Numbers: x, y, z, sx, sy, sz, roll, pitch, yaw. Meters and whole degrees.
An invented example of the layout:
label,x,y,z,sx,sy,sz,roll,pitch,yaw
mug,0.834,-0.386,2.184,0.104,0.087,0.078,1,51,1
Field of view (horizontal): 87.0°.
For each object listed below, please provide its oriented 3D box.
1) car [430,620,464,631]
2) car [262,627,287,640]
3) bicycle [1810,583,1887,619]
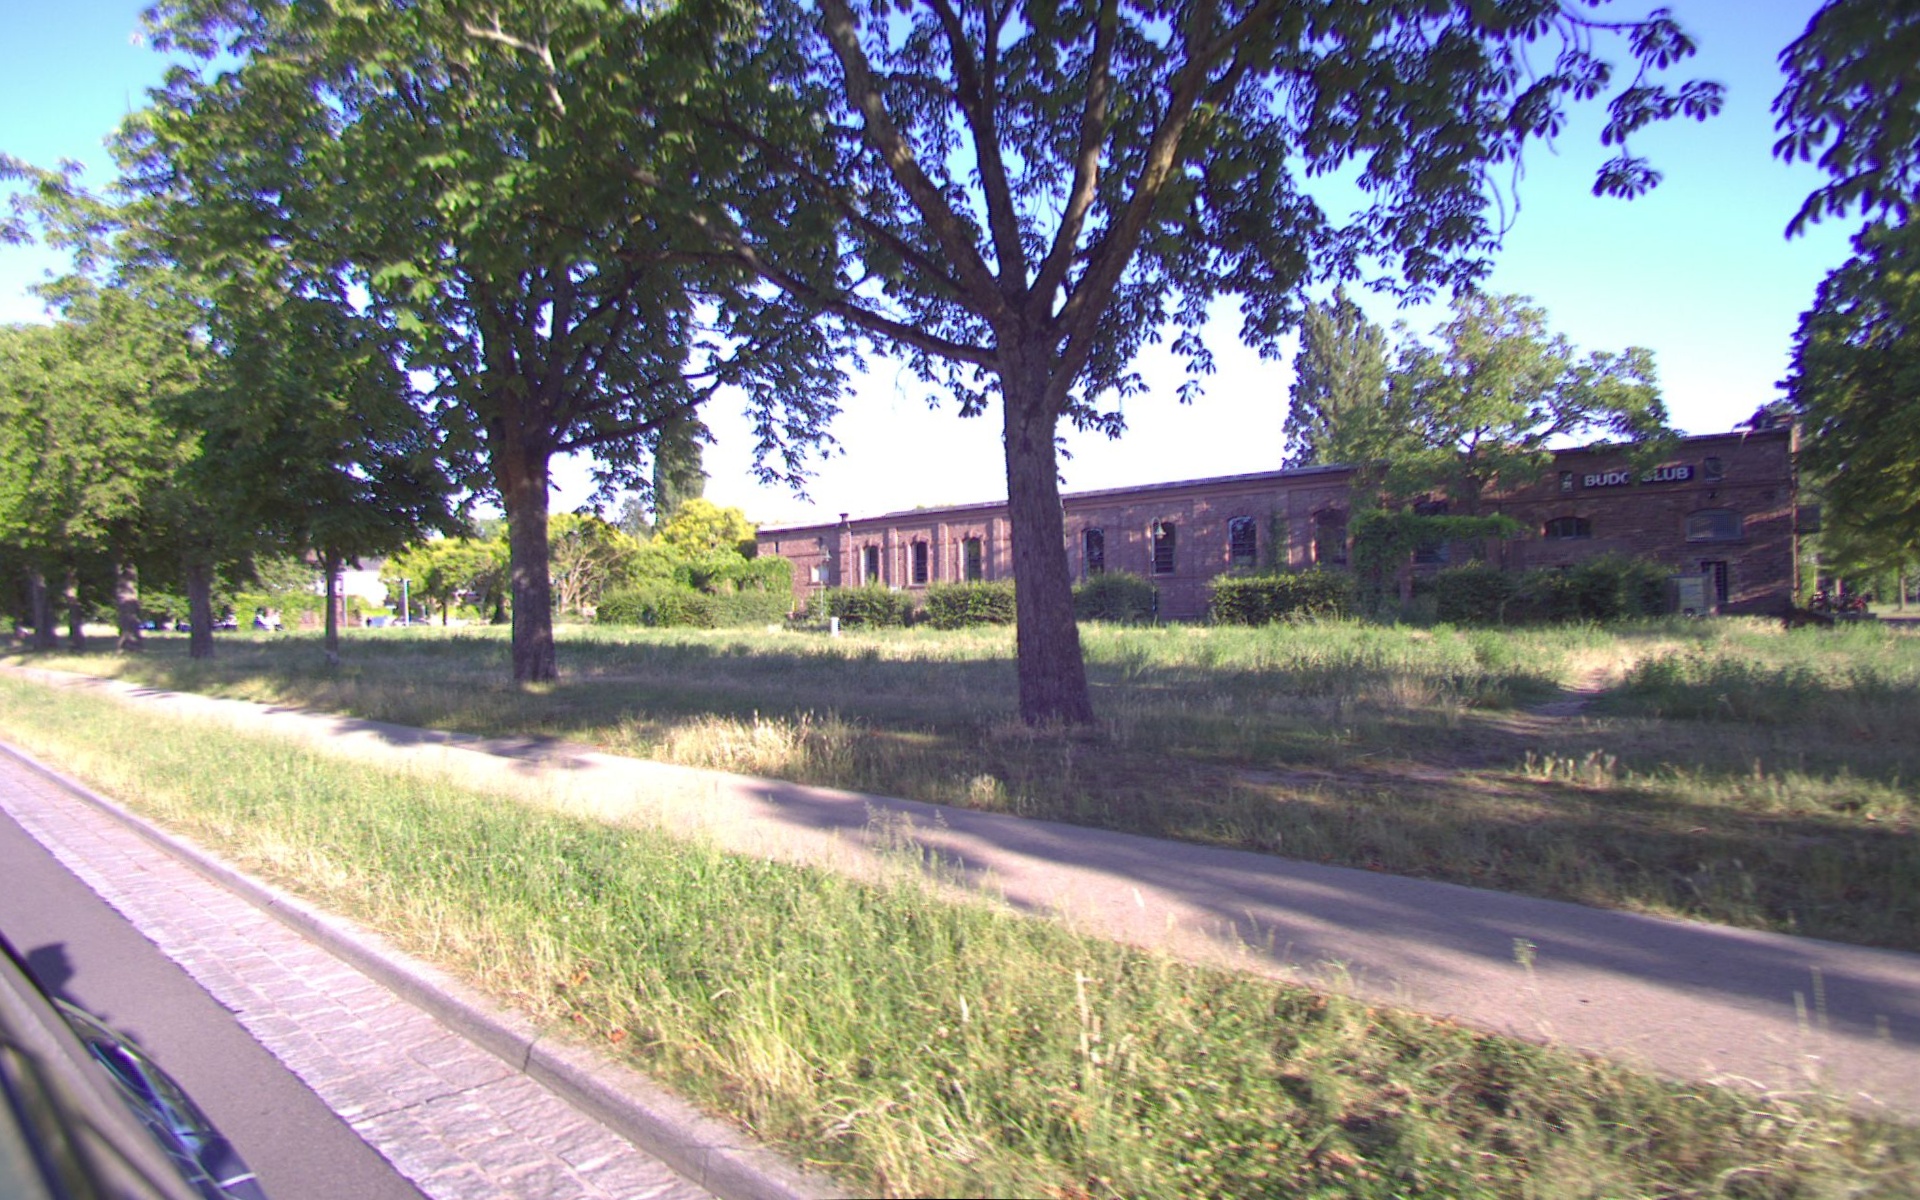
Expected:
label,x,y,z,sx,sy,sz,roll,pitch,yaw
car,-66.371,3.313,130.987,1.586,1.290,3.589,-1,1,42
car,-90.797,4.459,134.011,3.998,1.641,1.744,-2,0,41
bicycle,33.500,0.055,38.189,2.149,1.279,0.677,-2,0,43
